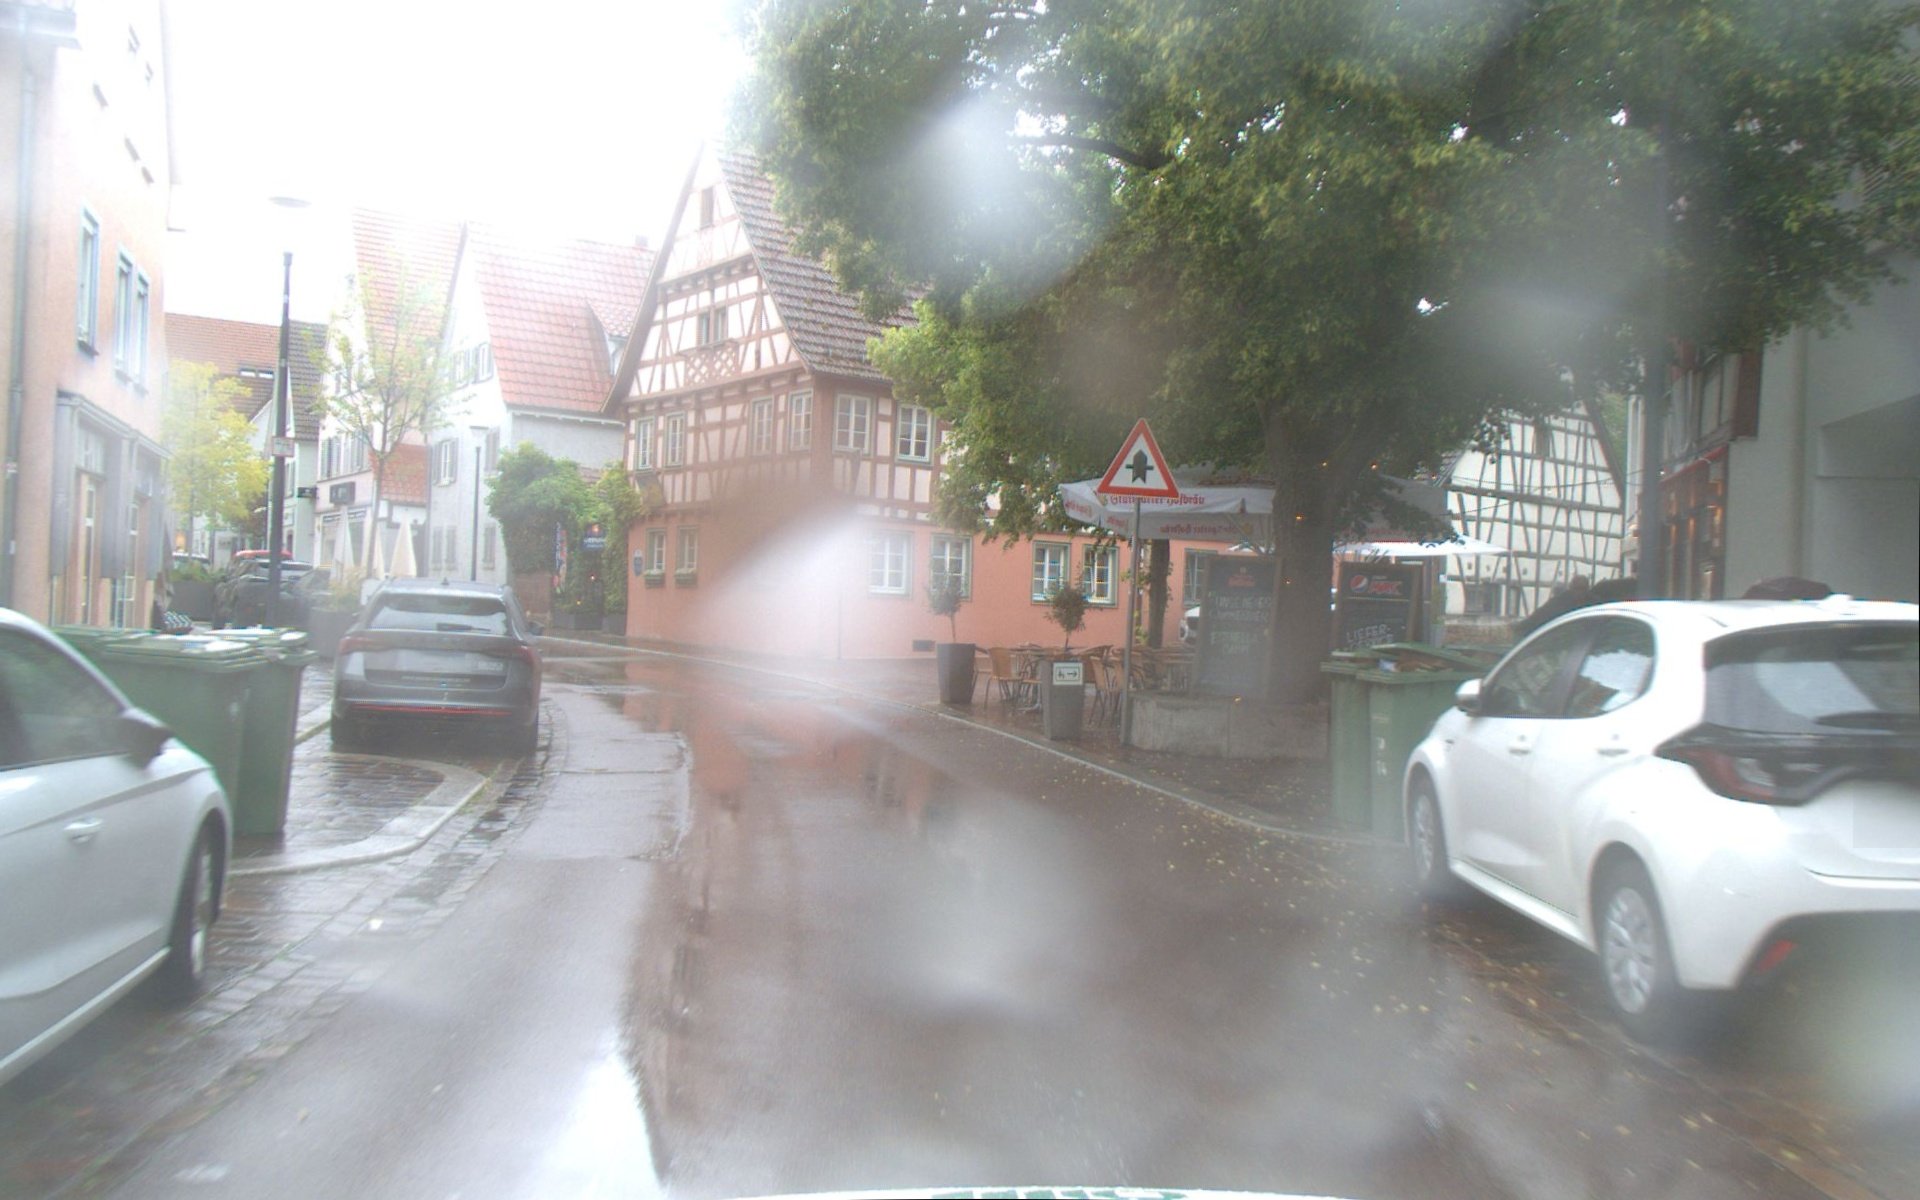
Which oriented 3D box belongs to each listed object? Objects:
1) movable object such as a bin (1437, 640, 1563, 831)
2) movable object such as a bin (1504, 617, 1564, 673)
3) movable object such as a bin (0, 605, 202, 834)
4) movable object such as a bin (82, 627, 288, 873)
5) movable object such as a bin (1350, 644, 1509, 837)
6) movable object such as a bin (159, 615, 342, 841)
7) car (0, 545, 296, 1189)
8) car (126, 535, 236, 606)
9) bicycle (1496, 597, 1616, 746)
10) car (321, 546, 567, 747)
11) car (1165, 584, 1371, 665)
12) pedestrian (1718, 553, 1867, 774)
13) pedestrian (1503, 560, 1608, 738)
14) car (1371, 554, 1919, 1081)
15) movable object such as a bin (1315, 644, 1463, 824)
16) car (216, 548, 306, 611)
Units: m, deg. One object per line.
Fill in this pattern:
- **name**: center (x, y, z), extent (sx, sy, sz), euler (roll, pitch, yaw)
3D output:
- **movable object such as a bin**: center (3.458, 0.850, 10.636), extent (0.527, 1.162, 0.727), euler (1, 0, -4)
- **movable object such as a bin**: center (12.011, 0.943, 34.607), extent (0.869, 1.130, 0.846), euler (4, -2, -36)
- **movable object such as a bin**: center (-4.678, 0.634, 9.007), extent (0.686, 1.141, 0.718), euler (5, -2, -3)
- **movable object such as a bin**: center (-3.900, 0.733, 8.373), extent (0.668, 1.155, 0.718), euler (2, 0, -2)
- **movable object such as a bin**: center (2.828, 0.834, 9.997), extent (0.712, 1.112, 0.609), euler (3, -2, -11)
- **movable object such as a bin**: center (-3.911, 0.684, 9.165), extent (0.686, 1.163, 0.718), euler (2, 0, -3)
- **car**: center (-3.248, 0.583, 4.493), extent (1.815, 1.477, 4.063), euler (3, 1, -10)
- **car**: center (-20.735, -0.732, 43.931), extent (1.809, 1.695, 4.584), euler (4, -2, -35)
- **bicycle**: center (5.904, 0.669, 16.509), extent (0.905, 1.374, 2.217), euler (0, 0, 14)
- **car**: center (-4.753, 0.411, 15.585), extent (1.844, 1.567, 4.382), euler (3, -1, -15)
- **car**: center (7.022, 0.541, 37.553), extent (4.563, 1.661, 1.976), euler (1, 2, -36)
- **pedestrian**: center (6.908, 0.523, 13.765), extent (0.866, 1.743, 0.890), euler (2, -2, 10)
- **pedestrian**: center (5.924, 0.481, 16.507), extent (0.891, 1.728, 0.862), euler (0, -1, 14)
- **car**: center (3.147, 0.676, 6.993), extent (1.751, 1.583, 3.948), euler (1, 0, -1)
- **movable object such as a bin**: center (2.754, 0.852, 10.661), extent (0.712, 1.102, 0.603), euler (3, -2, -11)
- **car**: center (-22.911, -0.690, 54.154), extent (1.878, 1.843, 3.952), euler (4, 0, -35)
